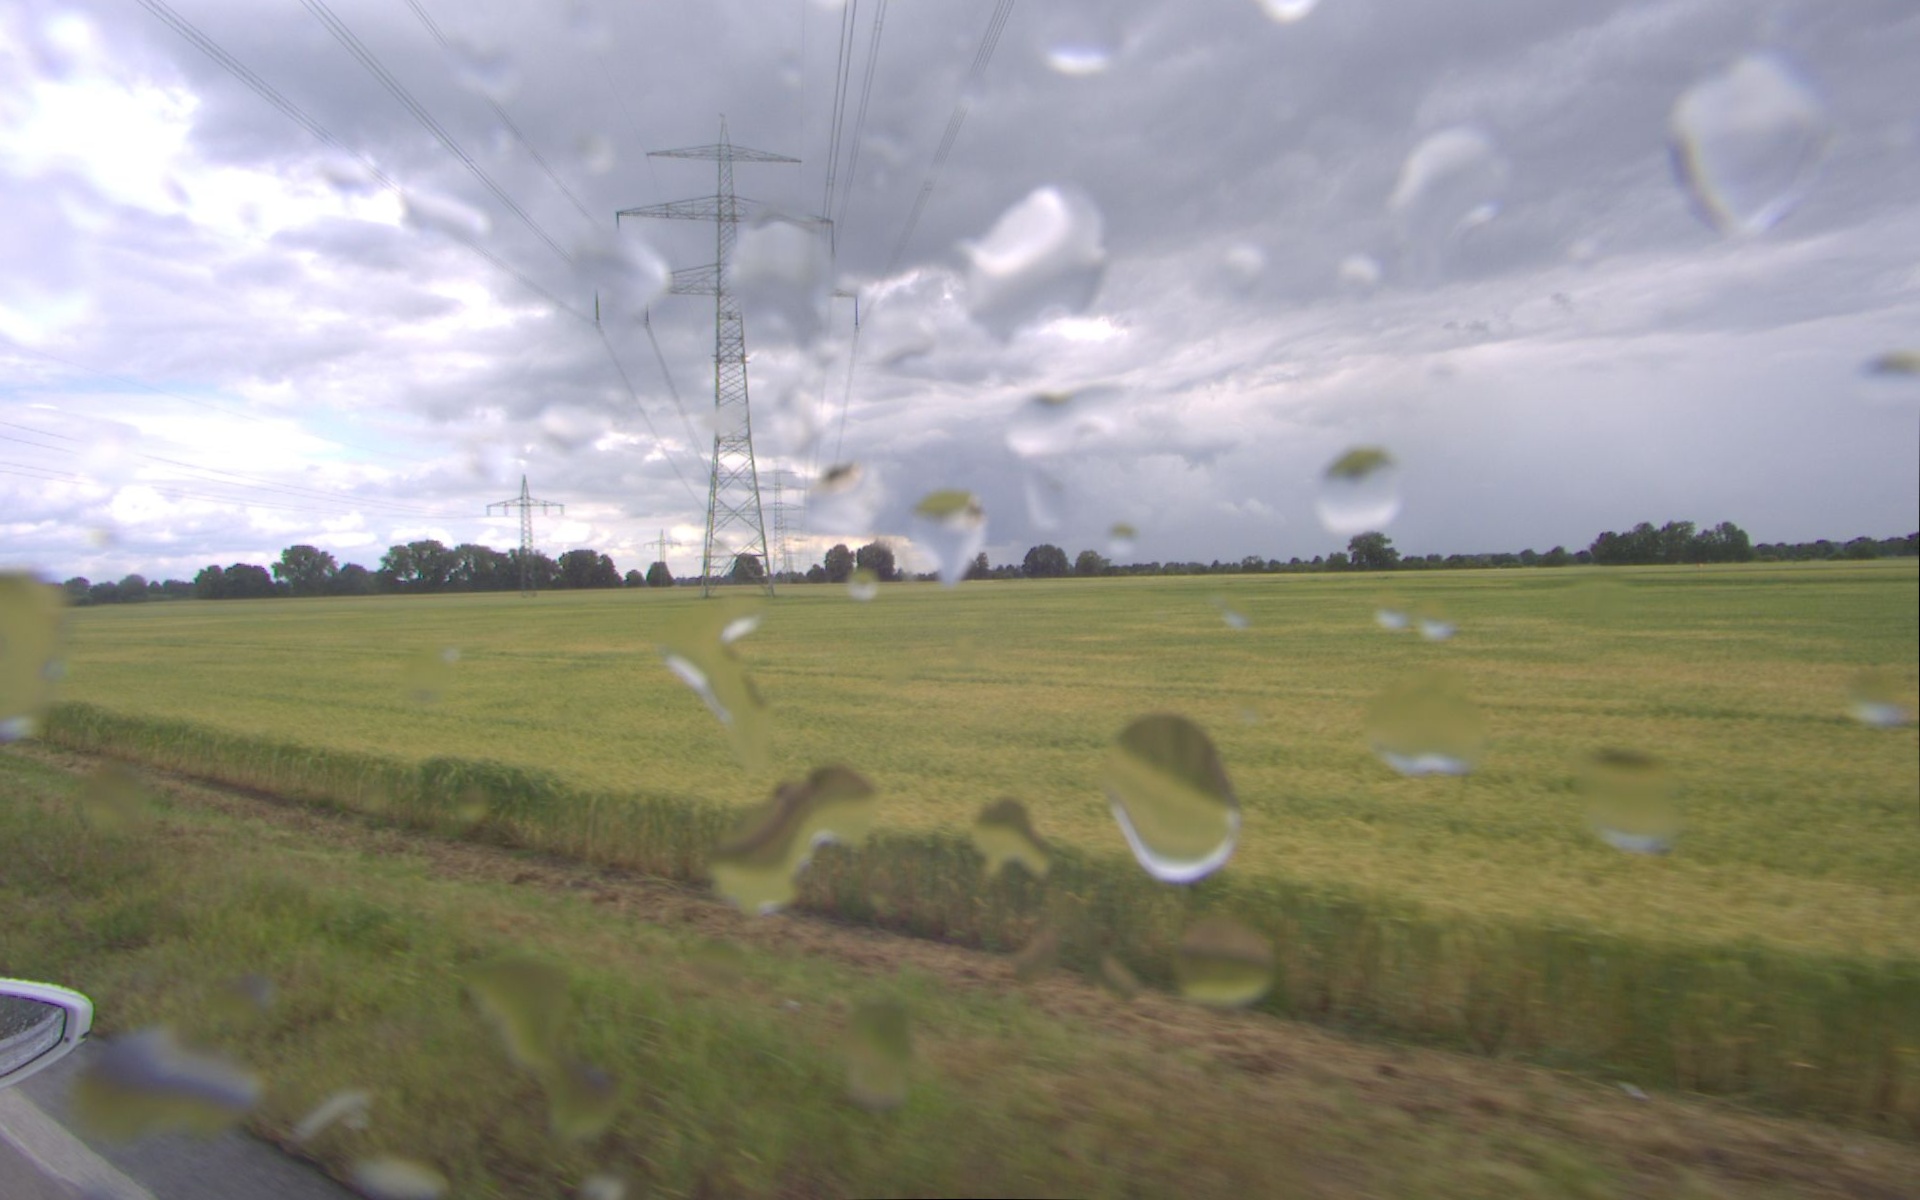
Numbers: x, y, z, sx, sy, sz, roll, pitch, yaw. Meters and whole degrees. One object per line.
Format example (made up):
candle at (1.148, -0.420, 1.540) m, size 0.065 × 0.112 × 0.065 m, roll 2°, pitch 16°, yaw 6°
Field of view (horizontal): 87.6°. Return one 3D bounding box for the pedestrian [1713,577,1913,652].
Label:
pedestrian at (24.777, 0.469, 29.284) m, size 3.931 × 2.039 × 1.997 m, roll -2°, pitch -2°, yaw 20°
